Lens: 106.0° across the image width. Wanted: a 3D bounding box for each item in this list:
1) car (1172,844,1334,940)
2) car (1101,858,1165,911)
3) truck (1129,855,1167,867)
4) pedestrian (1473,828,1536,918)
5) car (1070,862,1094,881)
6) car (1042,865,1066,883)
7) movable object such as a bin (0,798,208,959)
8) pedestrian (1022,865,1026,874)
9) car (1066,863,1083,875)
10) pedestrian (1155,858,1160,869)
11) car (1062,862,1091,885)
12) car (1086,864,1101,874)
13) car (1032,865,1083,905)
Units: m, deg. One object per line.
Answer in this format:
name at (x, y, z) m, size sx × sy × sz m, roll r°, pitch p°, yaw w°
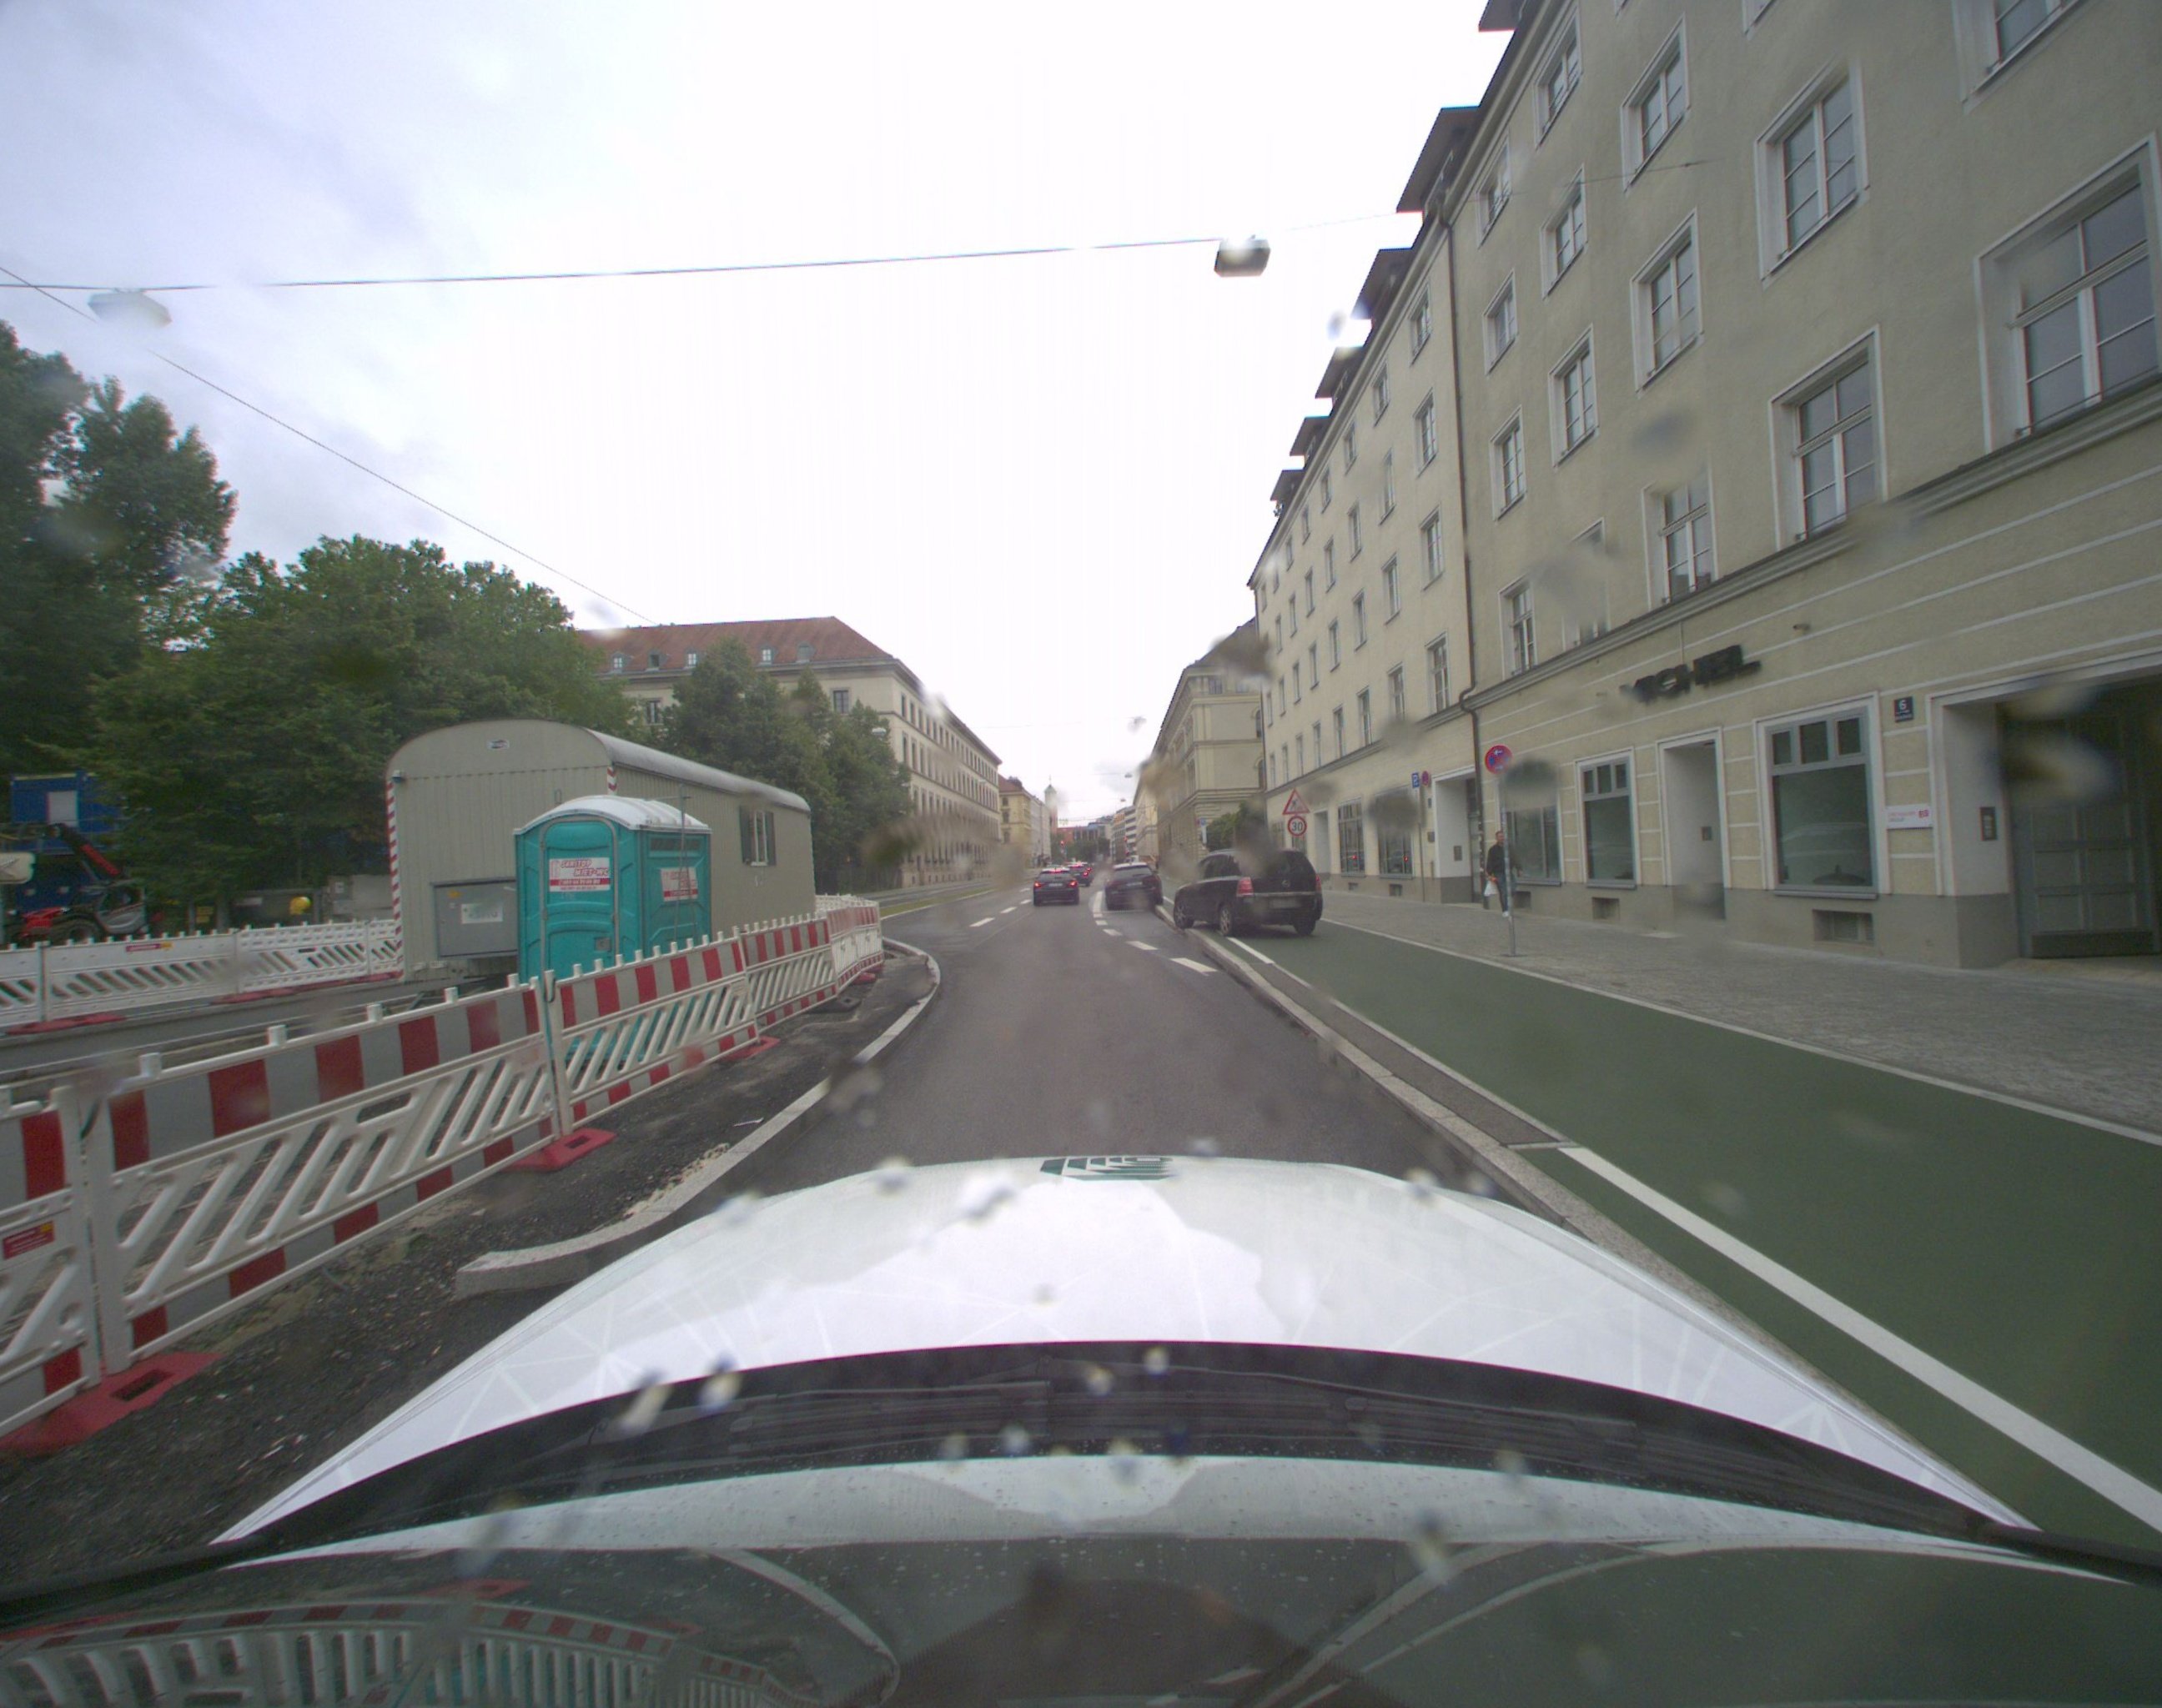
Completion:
car at (3.235, 0.684, 16.188) m, size 1.765 × 1.616 × 4.016 m, roll -1°, pitch -1°, yaw -10°
car at (1.715, 0.992, 28.191) m, size 1.803 × 1.480 × 4.462 m, roll -6°, pitch -1°, yaw 0°
truck at (13.281, 1.337, 161.377) m, size 7.353 × 2.252 × 2.181 m, roll -1°, pitch -1°, yaw 4°
pedestrian at (8.636, 0.381, 16.631) m, size 0.790 × 1.745 × 0.834 m, roll -3°, pitch -1°, yaw 2°
car at (0.083, 1.359, 64.023) m, size 1.723 × 1.461 × 4.002 m, roll -1°, pitch -1°, yaw 2°
car at (-2.580, 1.923, 78.295) m, size 1.986 × 1.627 × 4.002 m, roll -3°, pitch -1°, yaw 2°
movable object such as a bin at (-27.798, 0.670, 22.153) m, size 2.457 × 3.962 × 5.066 m, roll -3°, pitch -1°, yaw 1°
pedestrian at (-11.752, 3.279, 168.841) m, size 0.653 × 1.805 × 0.727 m, roll -3°, pitch -1°, yaw 1°
car at (-0.859, 1.985, 107.662) m, size 1.986 × 1.444 × 4.002 m, roll -3°, pitch -1°, yaw 2°
pedestrian at (11.550, 1.378, 123.065) m, size 0.707 × 1.618 × 0.754 m, roll -3°, pitch -1°, yaw 1°
car at (-0.275, 1.246, 53.665) m, size 1.723 × 1.403 × 4.002 m, roll -1°, pitch -1°, yaw 2°
car at (1.799, 2.181, 118.406) m, size 1.986 × 1.444 × 4.002 m, roll -3°, pitch -1°, yaw 2°
car at (-0.856, 1.185, 32.116) m, size 1.723 × 1.403 × 4.002 m, roll -1°, pitch -1°, yaw 2°
